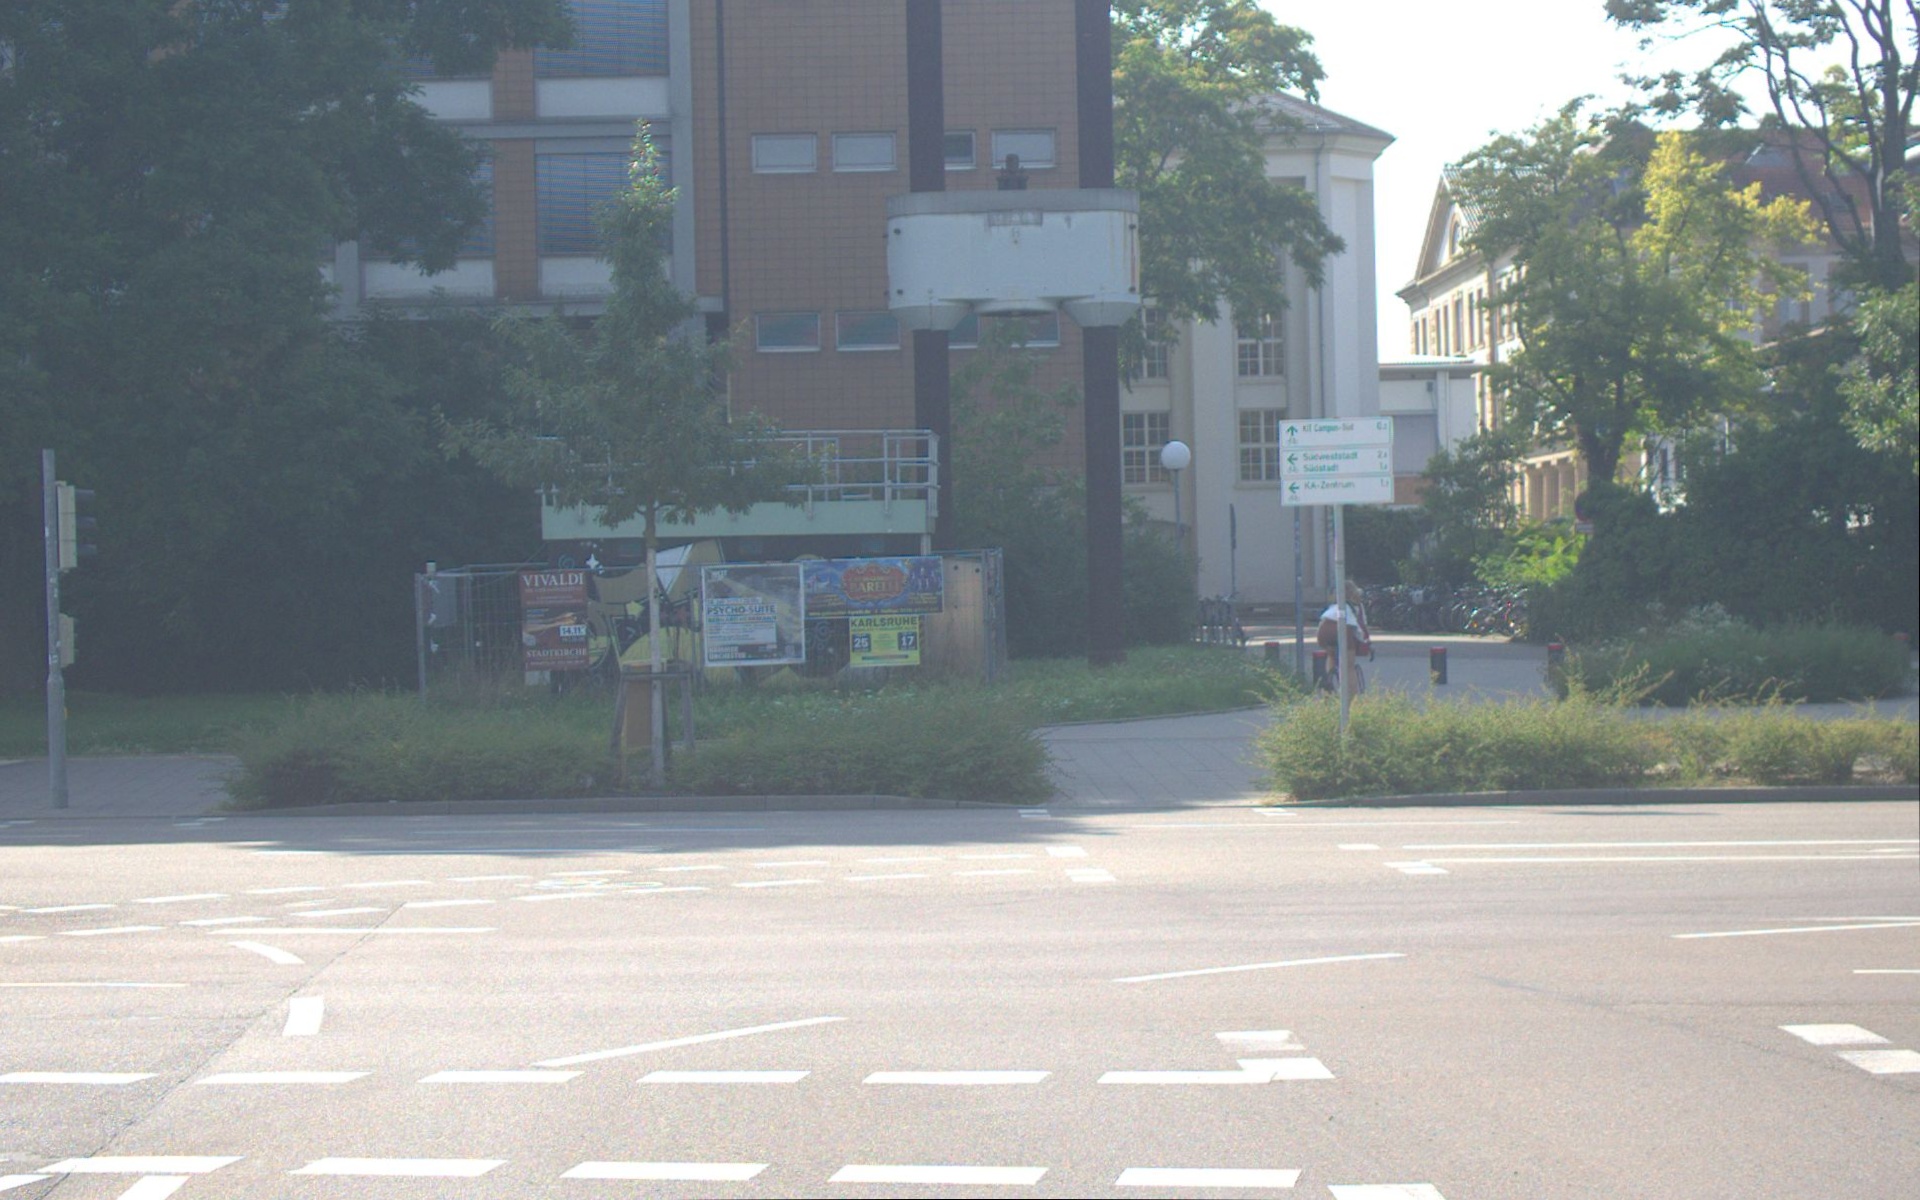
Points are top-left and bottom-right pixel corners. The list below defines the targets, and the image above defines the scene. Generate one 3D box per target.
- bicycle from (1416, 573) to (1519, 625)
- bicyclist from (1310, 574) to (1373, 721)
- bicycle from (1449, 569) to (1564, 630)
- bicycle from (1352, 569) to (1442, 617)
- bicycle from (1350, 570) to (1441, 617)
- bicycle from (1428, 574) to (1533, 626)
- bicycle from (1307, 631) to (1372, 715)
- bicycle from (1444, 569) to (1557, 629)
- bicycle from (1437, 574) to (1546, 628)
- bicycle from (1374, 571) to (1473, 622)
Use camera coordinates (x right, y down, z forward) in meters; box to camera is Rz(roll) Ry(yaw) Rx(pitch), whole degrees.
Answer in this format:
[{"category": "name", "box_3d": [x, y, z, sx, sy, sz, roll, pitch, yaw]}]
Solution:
[{"category": "bicycle", "box_3d": [12.335, -0.025, 83.576, 2.427, 1.235, 0.720, 1, 0, 4]}, {"category": "bicyclist", "box_3d": [4.235, 0.516, 38.159, 0.650, 1.596, 0.919, -1, 0, 6]}, {"category": "bicycle", "box_3d": [12.051, -0.018, 75.833, 2.427, 1.314, 0.720, 1, 0, 4]}, {"category": "bicycle", "box_3d": [12.105, -0.194, 95.226, 2.427, 1.276, 0.720, 1, 0, 4]}, {"category": "bicycle", "box_3d": [11.956, -0.175, 94.398, 2.427, 1.258, 0.720, 1, 0, 4]}, {"category": "bicycle", "box_3d": [12.499, -0.003, 82.632, 2.427, 1.230, 0.720, 1, 0, 4]}, {"category": "bicycle", "box_3d": [4.205, 0.802, 38.047, 0.673, 0.876, 1.400, -1, 0, 7]}, {"category": "bicycle", "box_3d": [12.104, -0.027, 76.968, 2.427, 1.314, 0.720, 1, 0, 4]}, {"category": "bicycle", "box_3d": [12.278, 0.013, 79.505, 2.427, 1.219, 0.720, 1, 0, 4]}, {"category": "bicycle", "box_3d": [11.779, -0.087, 87.402, 2.427, 1.277, 0.720, 1, 0, 4]}]
